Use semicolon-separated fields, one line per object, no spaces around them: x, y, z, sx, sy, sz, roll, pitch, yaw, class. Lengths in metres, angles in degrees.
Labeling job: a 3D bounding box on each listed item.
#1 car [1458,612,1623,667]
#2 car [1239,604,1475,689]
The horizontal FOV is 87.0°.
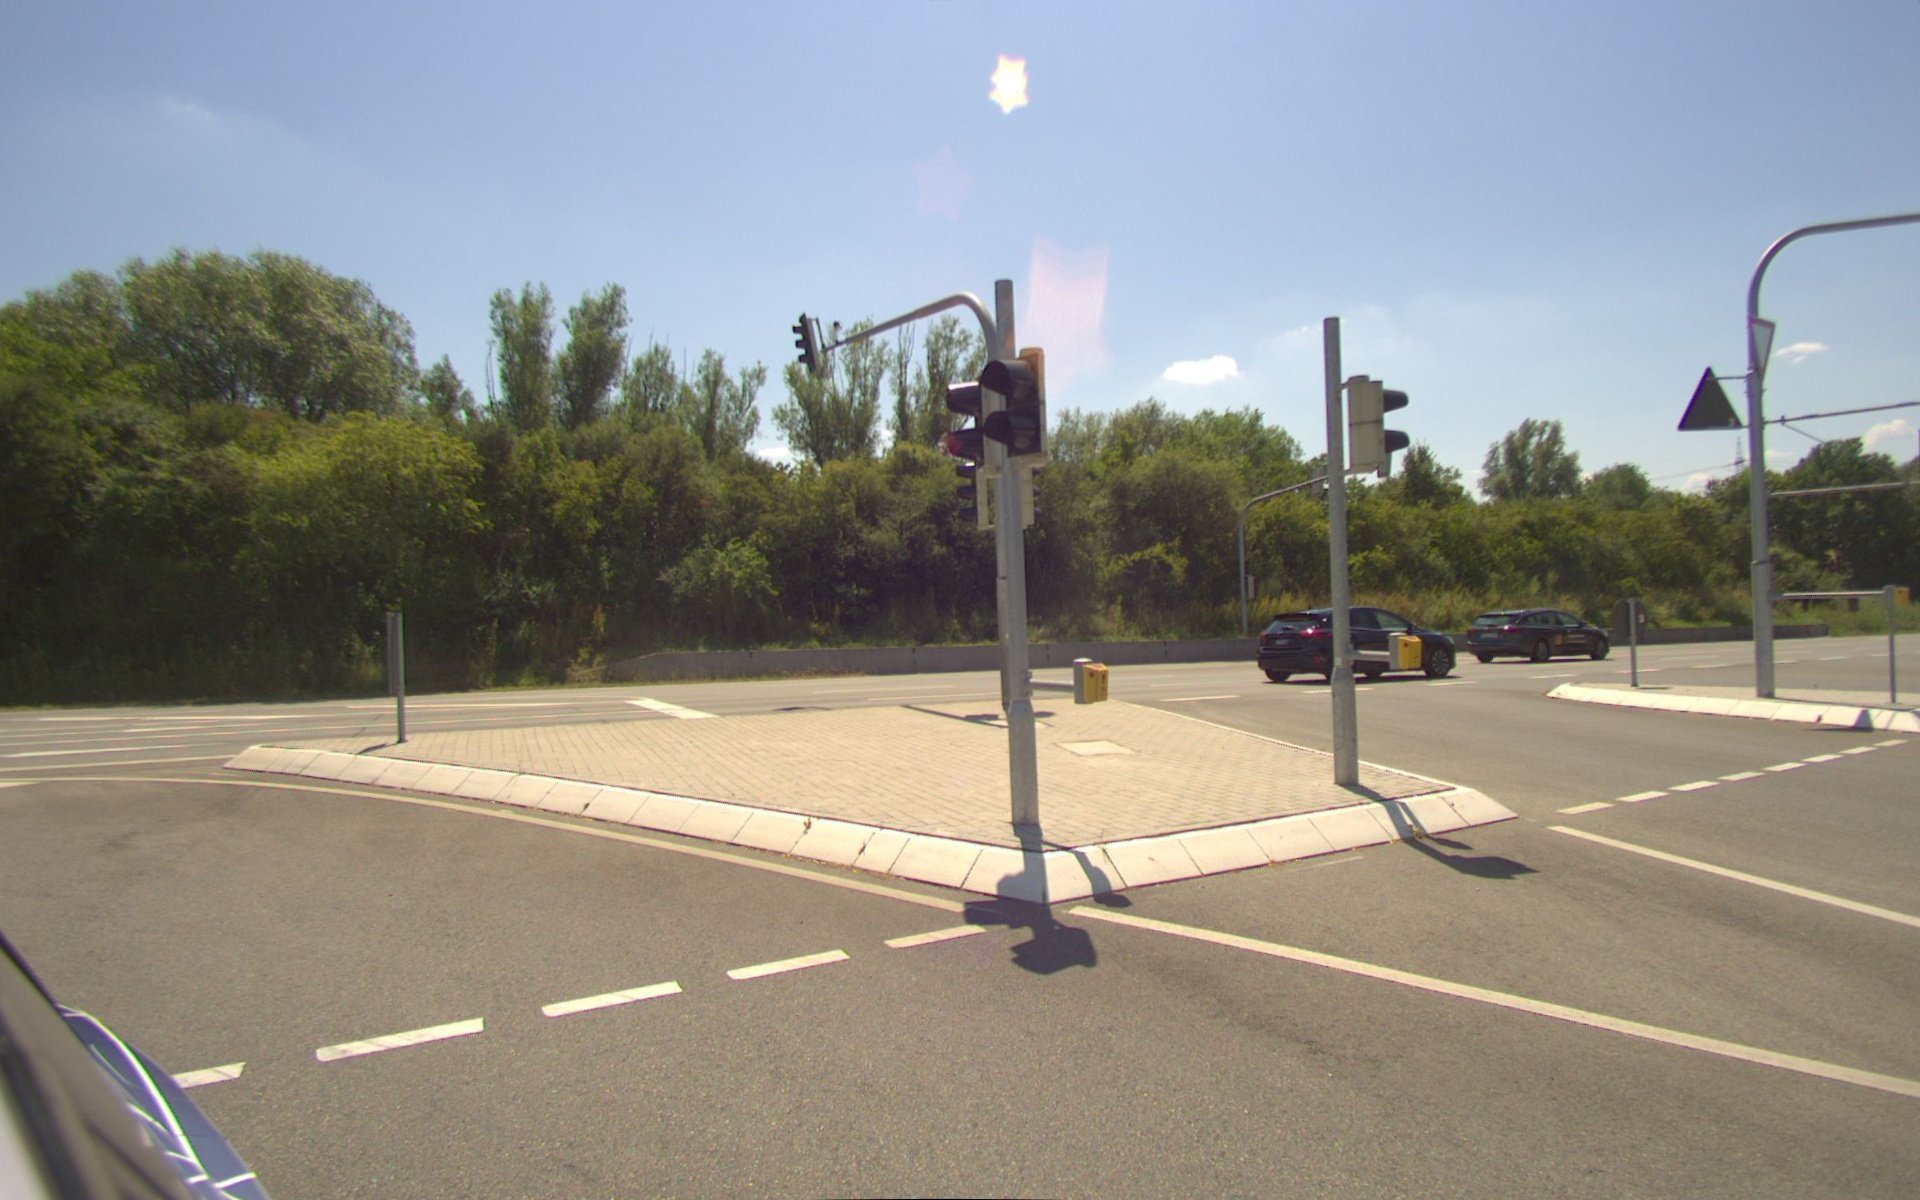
16.081;1.097;28.028;4.316;1.453;1.745;1;-3;-24;car
7.798;0.874;19.866;4.224;1.453;1.745;-1;-2;-22;car
